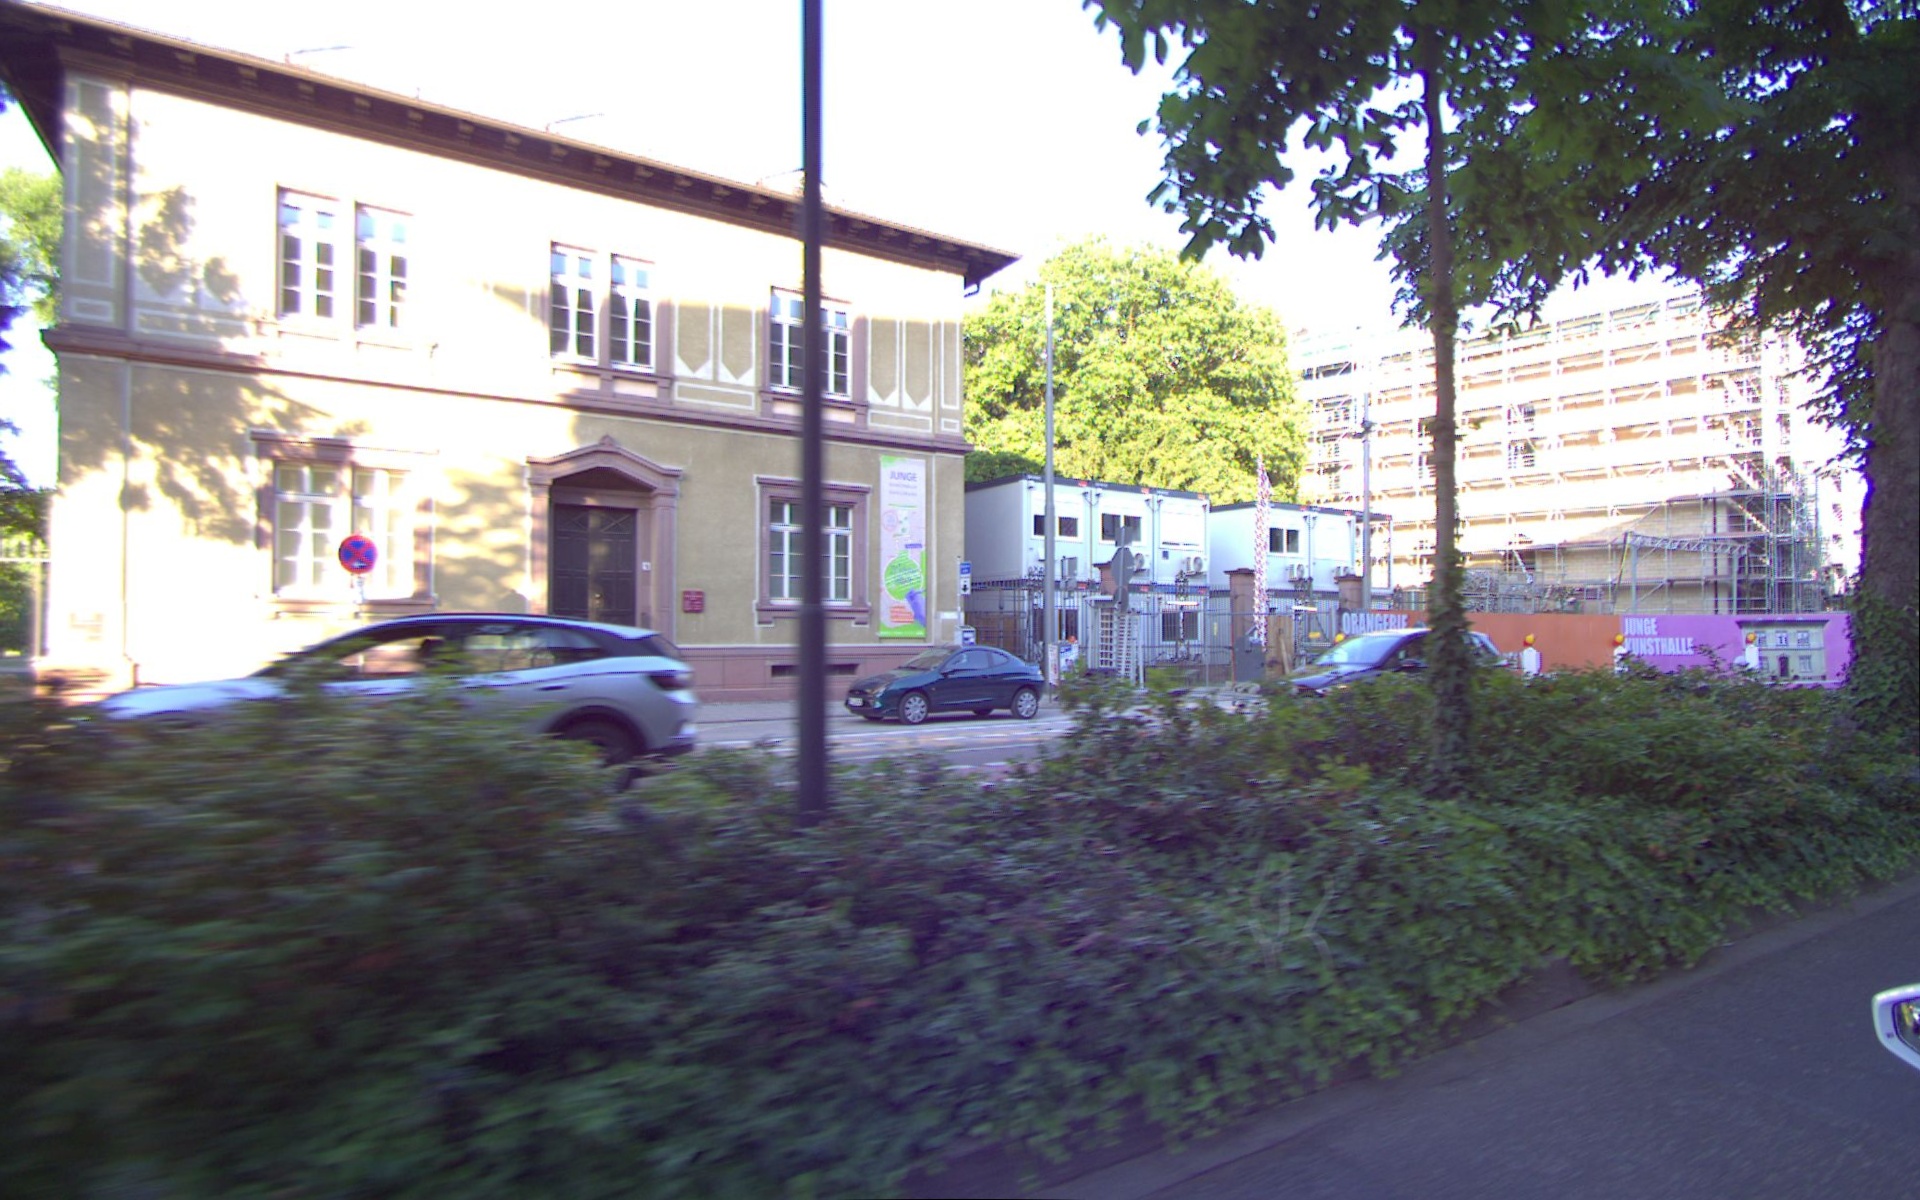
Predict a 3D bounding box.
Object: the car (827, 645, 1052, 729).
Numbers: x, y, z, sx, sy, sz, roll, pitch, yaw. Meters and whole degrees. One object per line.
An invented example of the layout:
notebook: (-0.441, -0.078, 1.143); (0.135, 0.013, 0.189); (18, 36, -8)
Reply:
car: (-0.342, 1.532, 18.431); (3.845, 1.368, 1.670); (1, -3, -33)

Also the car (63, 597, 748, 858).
car: (-4.219, 0.899, 8.386); (4.497, 1.696, 1.836); (1, -3, -27)

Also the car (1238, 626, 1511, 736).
car: (6.668, 1.230, 16.114); (4.122, 1.571, 1.836); (1, -3, -28)
